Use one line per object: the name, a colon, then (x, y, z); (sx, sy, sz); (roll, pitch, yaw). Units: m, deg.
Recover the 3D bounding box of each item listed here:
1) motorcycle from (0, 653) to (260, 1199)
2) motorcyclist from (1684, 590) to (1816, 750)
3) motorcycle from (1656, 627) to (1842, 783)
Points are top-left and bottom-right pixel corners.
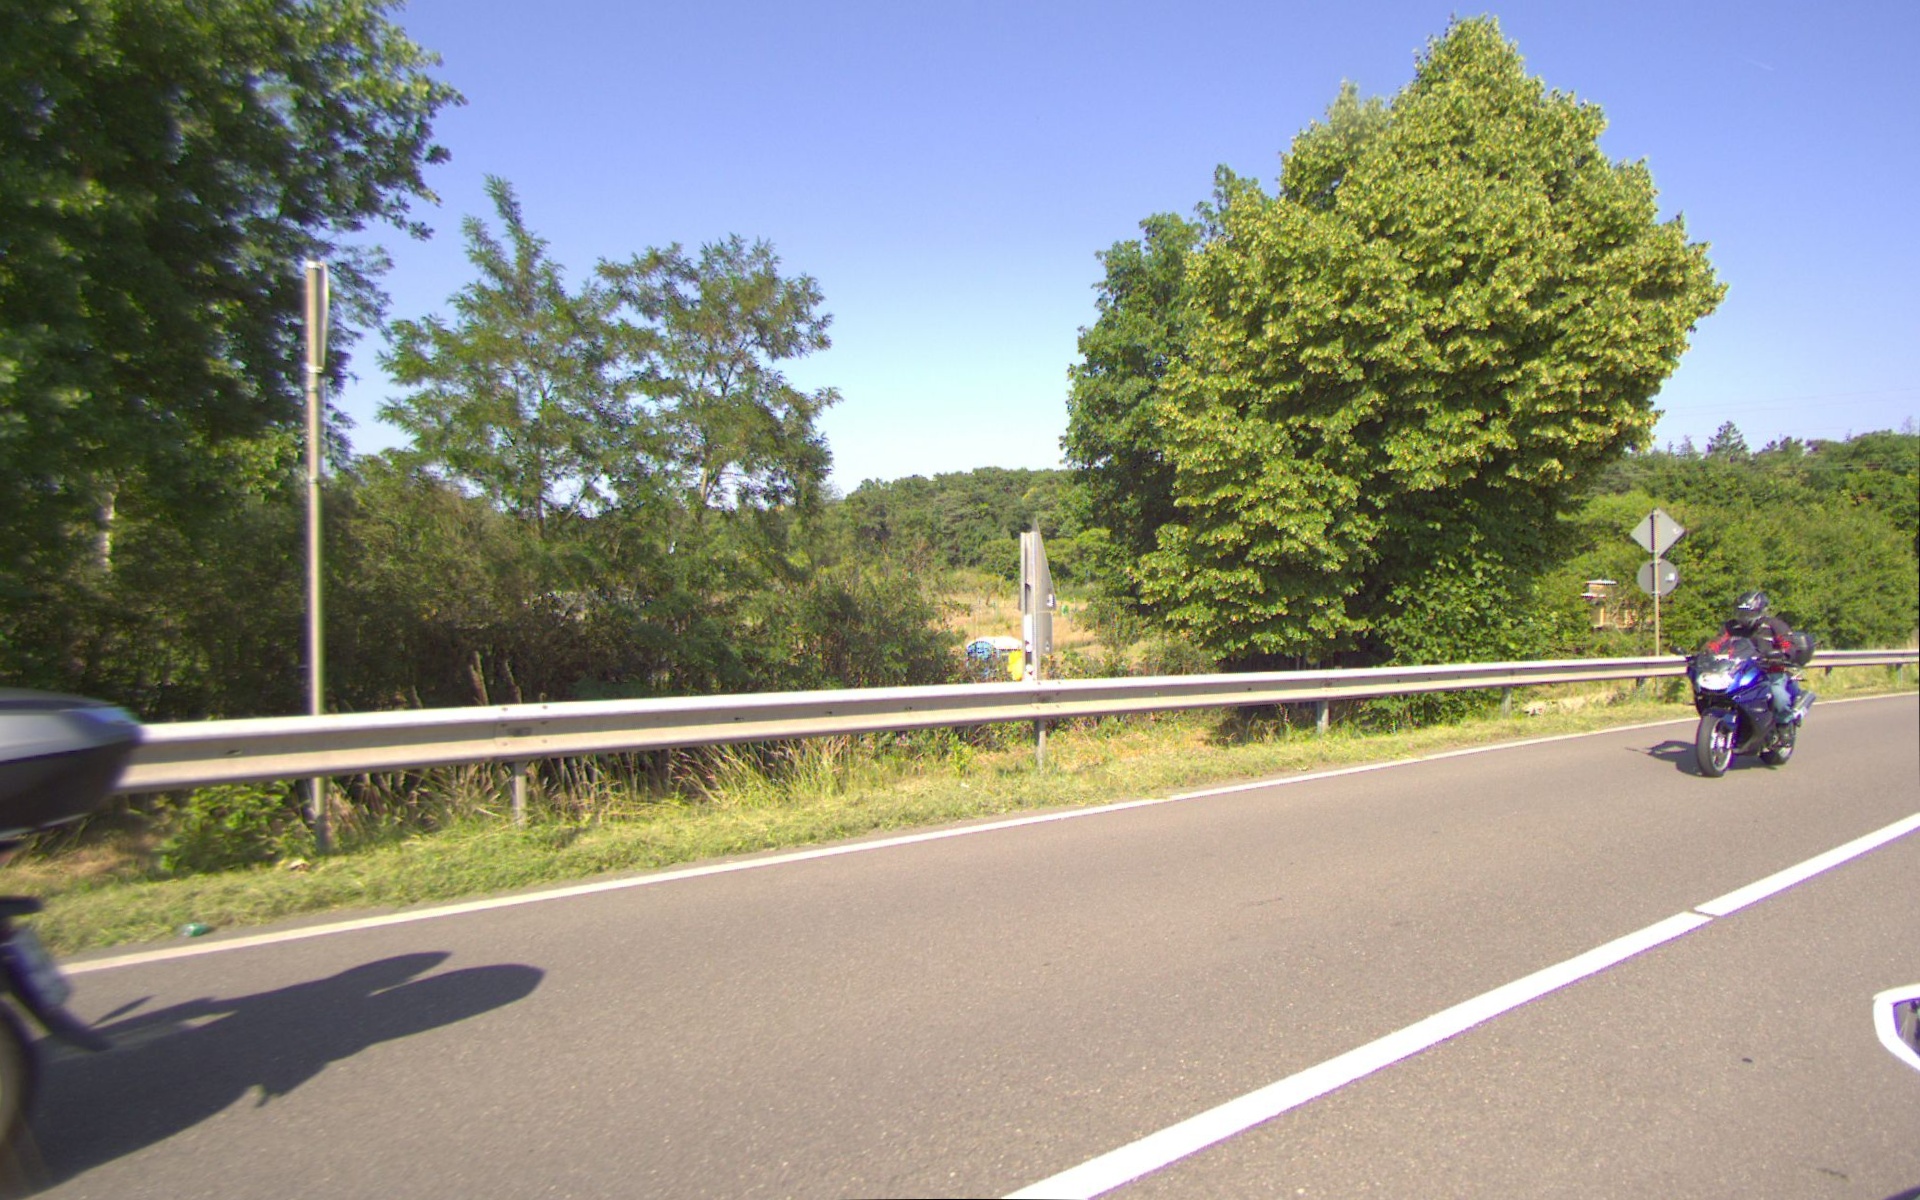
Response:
motorcycle: (-2.726, 0.771, 2.060); (2.055, 1.267, 0.713); (1, 0, -32)
motorcyclist: (7.476, 0.632, 9.507); (0.968, 1.426, 0.695); (1, 0, -32)
motorcycle: (7.503, 0.929, 9.518); (2.157, 1.326, 0.713); (1, 0, -32)
